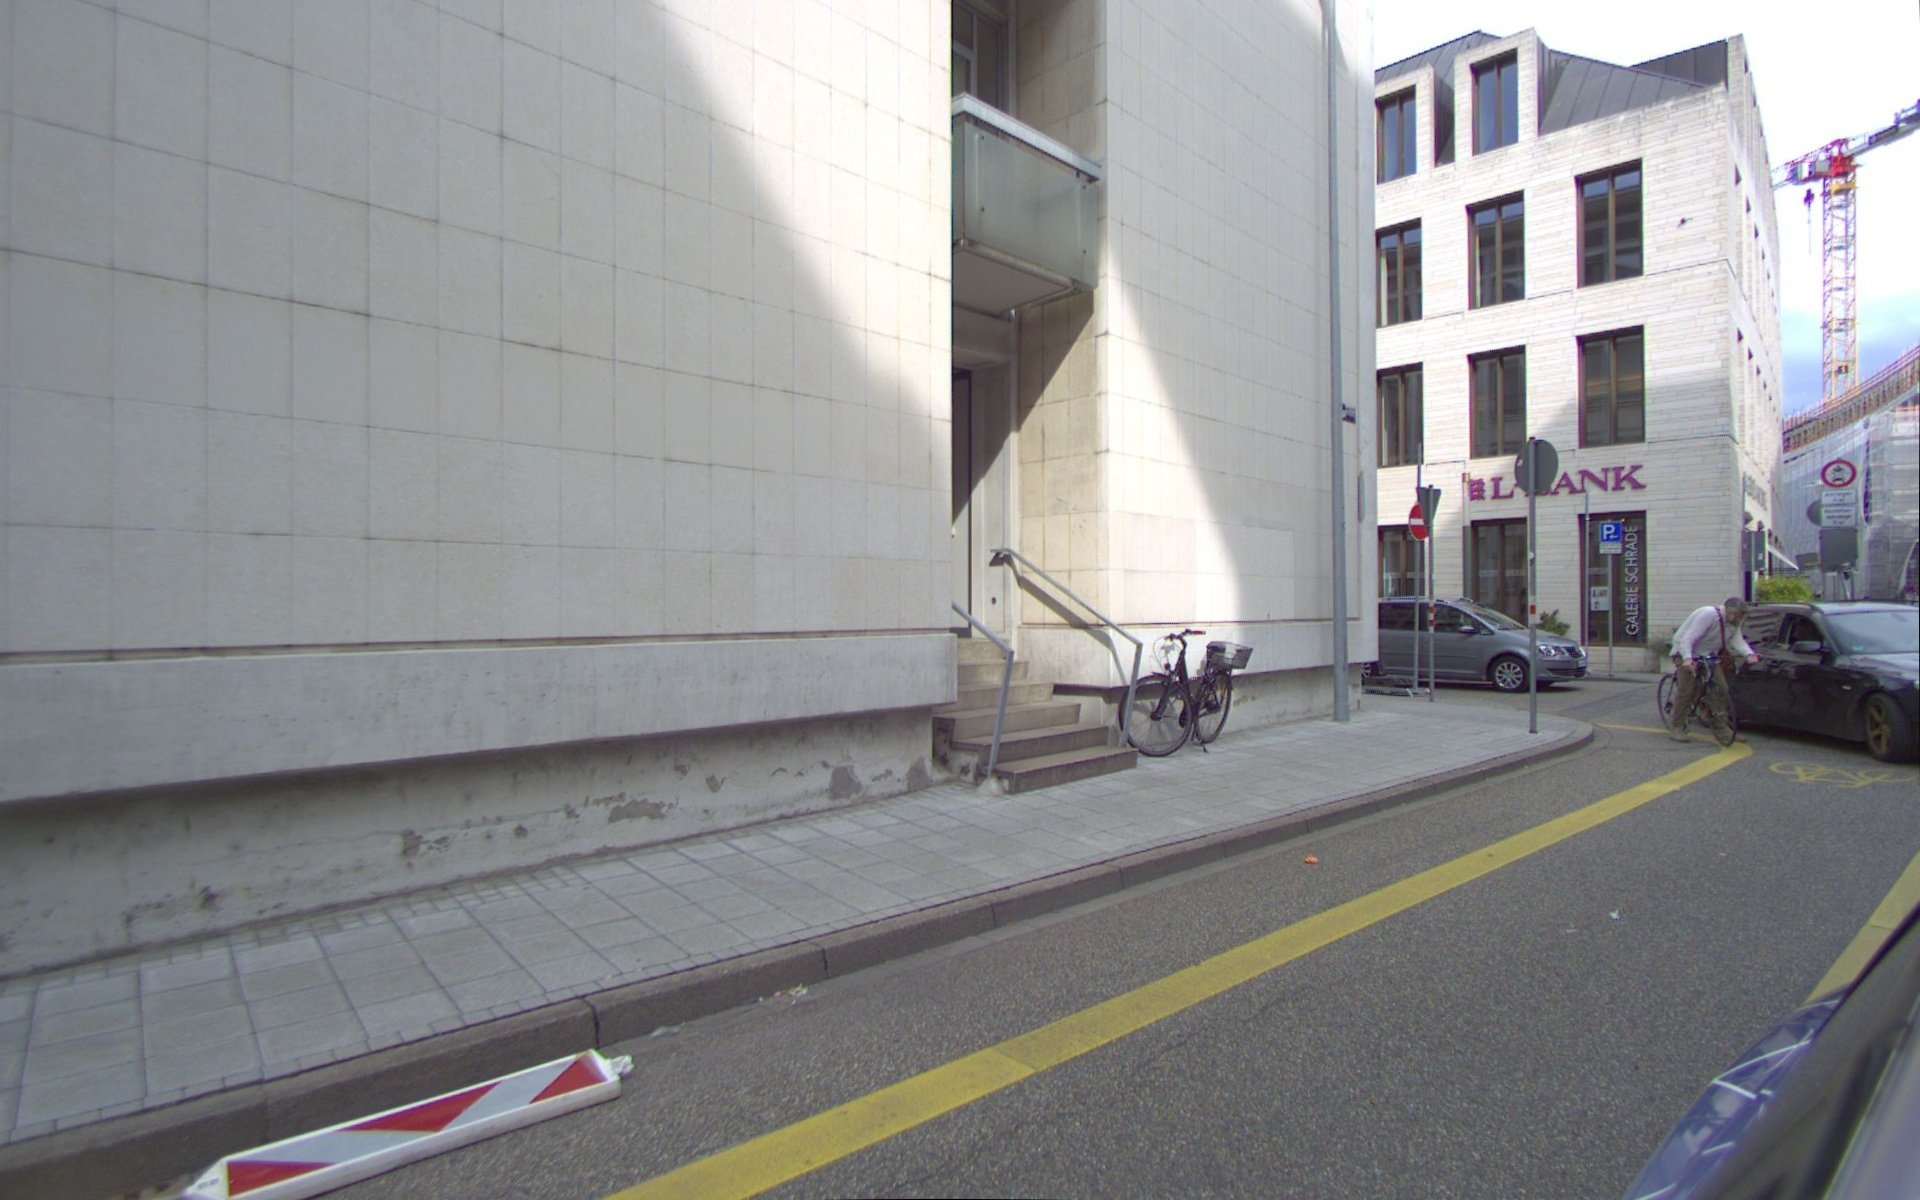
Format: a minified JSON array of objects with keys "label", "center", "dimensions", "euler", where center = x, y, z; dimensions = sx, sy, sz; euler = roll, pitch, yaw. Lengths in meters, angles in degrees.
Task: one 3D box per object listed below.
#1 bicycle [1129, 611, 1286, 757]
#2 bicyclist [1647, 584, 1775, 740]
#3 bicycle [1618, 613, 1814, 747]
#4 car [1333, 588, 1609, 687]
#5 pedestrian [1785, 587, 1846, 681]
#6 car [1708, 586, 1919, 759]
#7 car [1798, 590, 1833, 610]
[{"label":"bicycle","center":[2.319,0.714,9.346],"dimensions":[0.589,1.182,1.786],"euler":[0,0,44]},{"label":"bicyclist","center":[8.150,0.635,11.032],"dimensions":[0.881,1.614,0.872],"euler":[0,0,19]},{"label":"bicycle","center":[8.192,0.781,11.157],"dimensions":[0.860,1.209,2.847],"euler":[0,0,18]},{"label":"car","center":[9.248,0.595,18.564],"dimensions":[1.784,1.610,4.187],"euler":[-1,1,-42]},{"label":"pedestrian","center":[17.388,0.668,20.590],"dimensions":[0.767,1.854,0.853],"euler":[0,0,29]},{"label":"car","center":[9.432,0.620,10.040],"dimensions":[1.690,1.509,3.754],"euler":[-1,0,10]},{"label":"car","center":[65.399,0.001,77.423],"dimensions":[1.578,1.505,3.952],"euler":[0,1,33]}]
